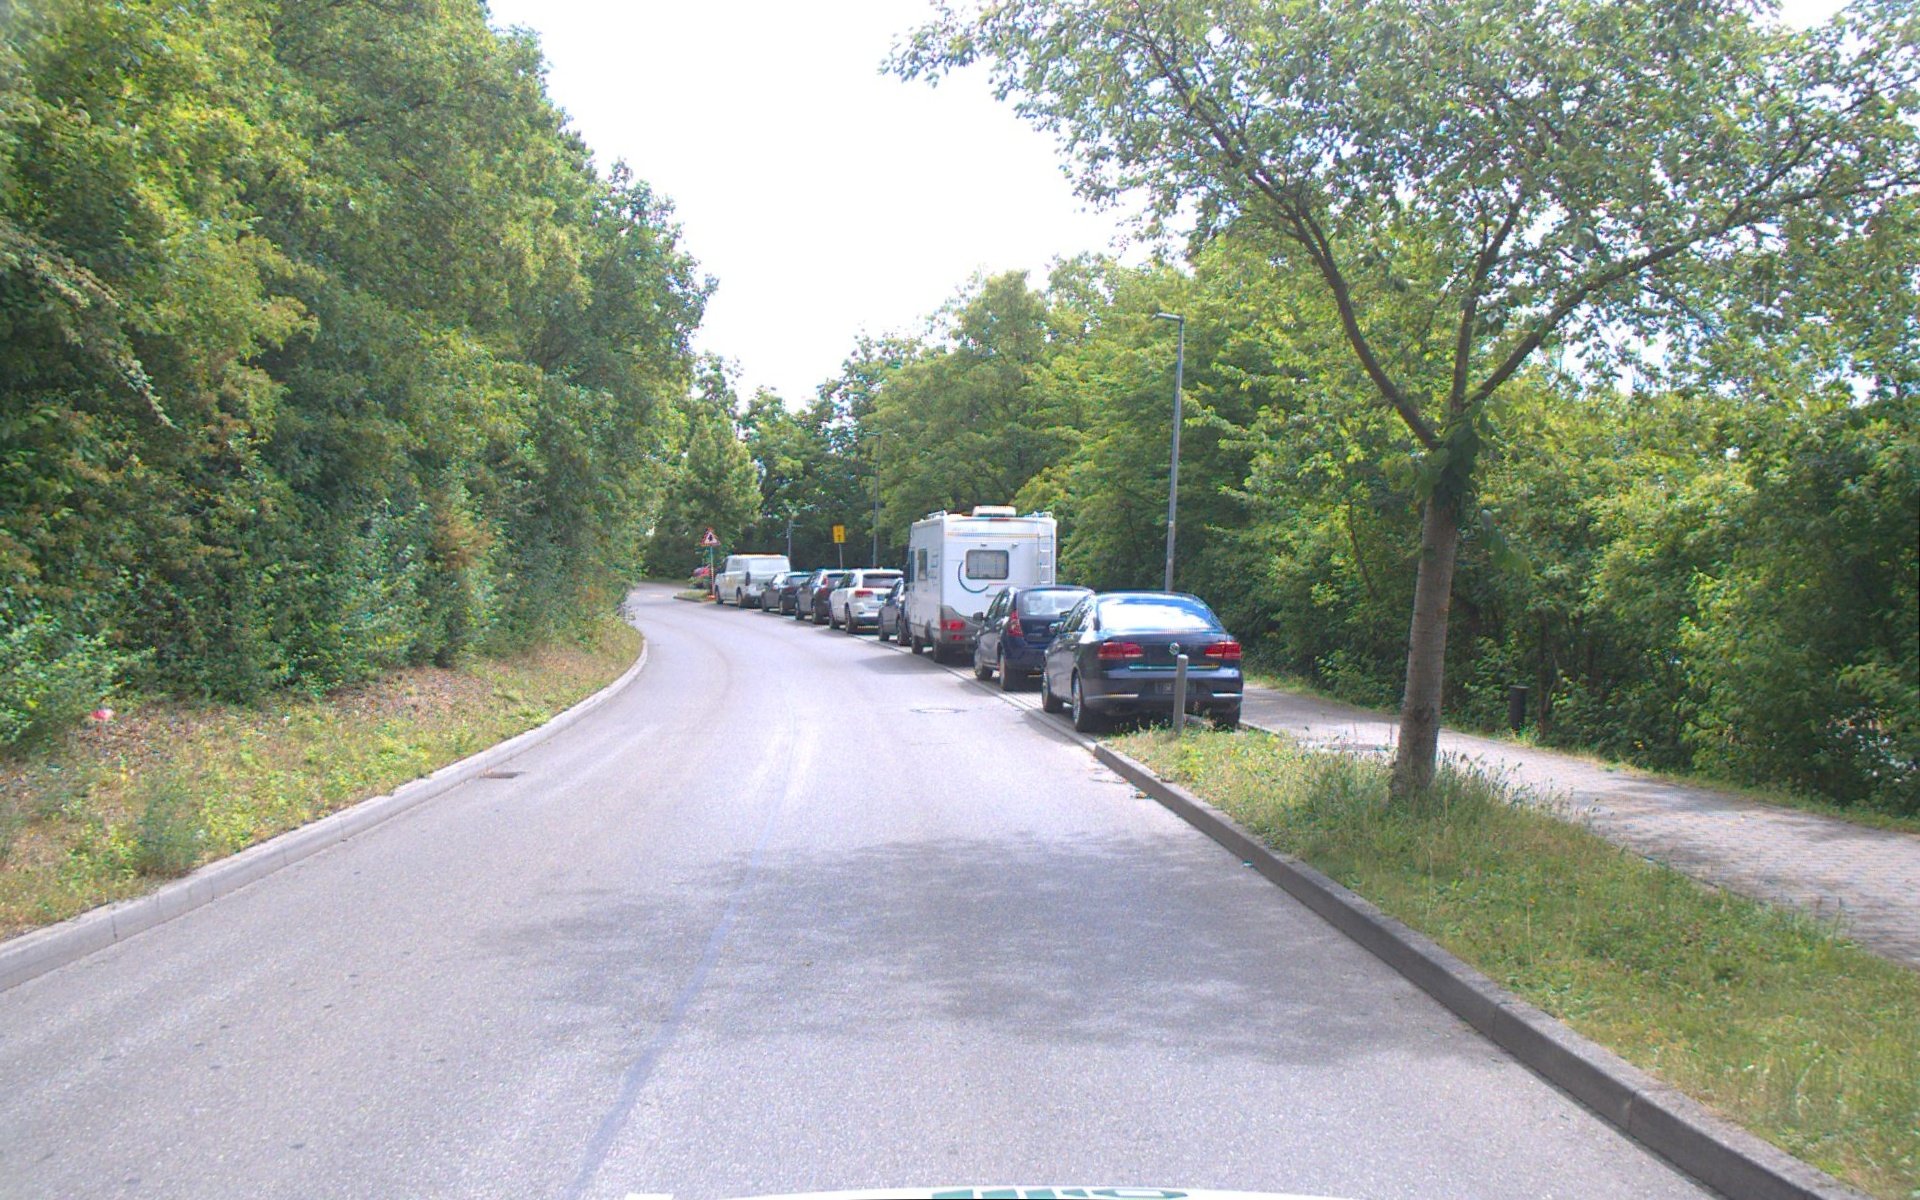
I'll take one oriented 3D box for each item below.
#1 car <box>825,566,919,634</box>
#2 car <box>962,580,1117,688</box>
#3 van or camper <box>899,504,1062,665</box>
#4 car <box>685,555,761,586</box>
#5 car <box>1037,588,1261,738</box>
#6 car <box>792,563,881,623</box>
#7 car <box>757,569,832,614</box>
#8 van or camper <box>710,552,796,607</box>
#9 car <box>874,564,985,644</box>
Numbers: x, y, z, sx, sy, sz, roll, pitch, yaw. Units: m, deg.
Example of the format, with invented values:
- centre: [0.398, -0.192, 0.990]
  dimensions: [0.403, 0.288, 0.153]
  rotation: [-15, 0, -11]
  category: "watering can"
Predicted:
- centre: [-2.537, -0.038, 46.475]
  dimensions: [1.839, 1.718, 4.564]
  rotation: [1, 1, -13]
  category: "car"
- centre: [1.162, 0.496, 25.915]
  dimensions: [1.697, 1.545, 3.881]
  rotation: [-1, 0, -9]
  category: "car"
- centre: [0.272, -0.332, 33.467]
  dimensions: [2.289, 2.919, 6.138]
  rotation: [1, 1, -9]
  category: "van or camper"
- centre: [-11.913, -1.489, 83.158]
  dimensions: [3.485, 1.506, 1.771]
  rotation: [0, 3, -21]
  category: "car"
- centre: [2.003, 0.611, 18.749]
  dimensions: [1.741, 1.459, 4.330]
  rotation: [0, 1, -4]
  category: "car"
- centre: [-3.949, -0.264, 52.175]
  dimensions: [1.961, 1.654, 4.261]
  rotation: [-2, 3, -16]
  category: "car"
- centre: [-5.908, -0.319, 58.687]
  dimensions: [1.771, 1.489, 3.977]
  rotation: [0, 1, -20]
  category: "car"
- centre: [-8.086, -0.842, 64.160]
  dimensions: [1.967, 1.953, 5.229]
  rotation: [-1, 3, -23]
  category: "van or camper"
- centre: [-0.788, 0.058, 39.522]
  dimensions: [1.682, 1.618, 3.986]
  rotation: [-7, 2, -13]
  category: "car"
